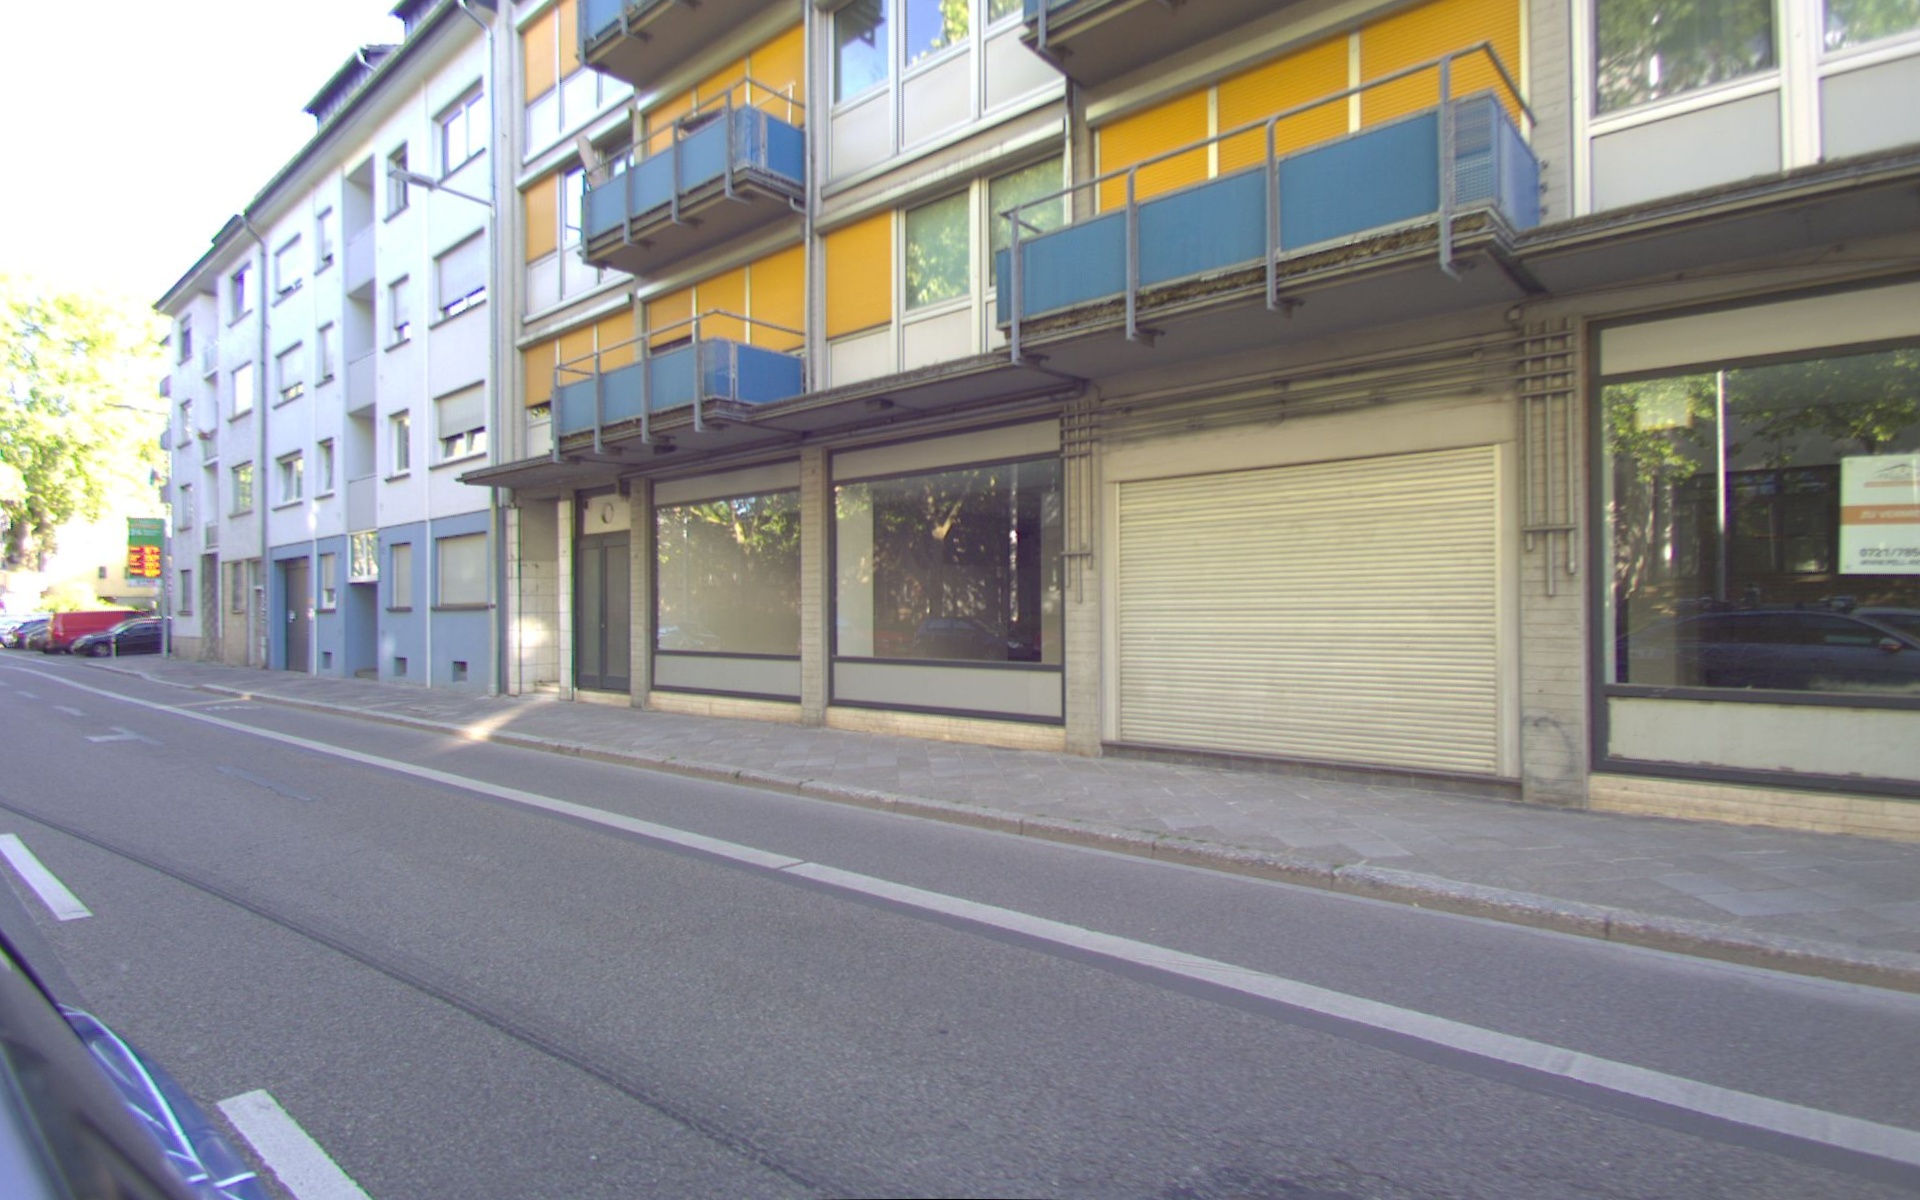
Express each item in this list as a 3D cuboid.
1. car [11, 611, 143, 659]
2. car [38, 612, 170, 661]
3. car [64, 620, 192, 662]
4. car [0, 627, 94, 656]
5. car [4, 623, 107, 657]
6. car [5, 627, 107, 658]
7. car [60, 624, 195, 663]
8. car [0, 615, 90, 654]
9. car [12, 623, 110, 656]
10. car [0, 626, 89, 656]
[{"bbox_3d":[-42.012,1.625,48.223,2.056,1.966,4.475,-2,1,41],"label":"car"},{"bbox_3d":[-39.531,1.644,46.806,2.145,1.966,4.375,-2,1,42],"label":"car"},{"bbox_3d":[-36.984,1.783,45.067,1.886,1.575,4.129,-1,1,41],"label":"car"},{"bbox_3d":[-53.365,2.396,59.164,1.852,1.444,3.945,-2,0,41],"label":"car"},{"bbox_3d":[-51.412,2.246,57.557,2.027,1.696,4.150,-2,0,41],"label":"car"},{"bbox_3d":[-49.205,2.276,55.141,1.915,1.466,3.945,-2,0,41],"label":"car"},{"bbox_3d":[-35.616,1.823,43.373,2.045,1.390,4.184,-1,1,41],"label":"car"},{"bbox_3d":[-58.236,2.141,63.816,2.139,2.233,4.794,-2,1,41],"label":"car"},{"bbox_3d":[-47.572,2.062,53.587,1.830,1.524,3.647,-2,1,41],"label":"car"},{"bbox_3d":[-54.929,2.441,60.604,1.852,1.571,3.945,-2,0,41],"label":"car"}]
